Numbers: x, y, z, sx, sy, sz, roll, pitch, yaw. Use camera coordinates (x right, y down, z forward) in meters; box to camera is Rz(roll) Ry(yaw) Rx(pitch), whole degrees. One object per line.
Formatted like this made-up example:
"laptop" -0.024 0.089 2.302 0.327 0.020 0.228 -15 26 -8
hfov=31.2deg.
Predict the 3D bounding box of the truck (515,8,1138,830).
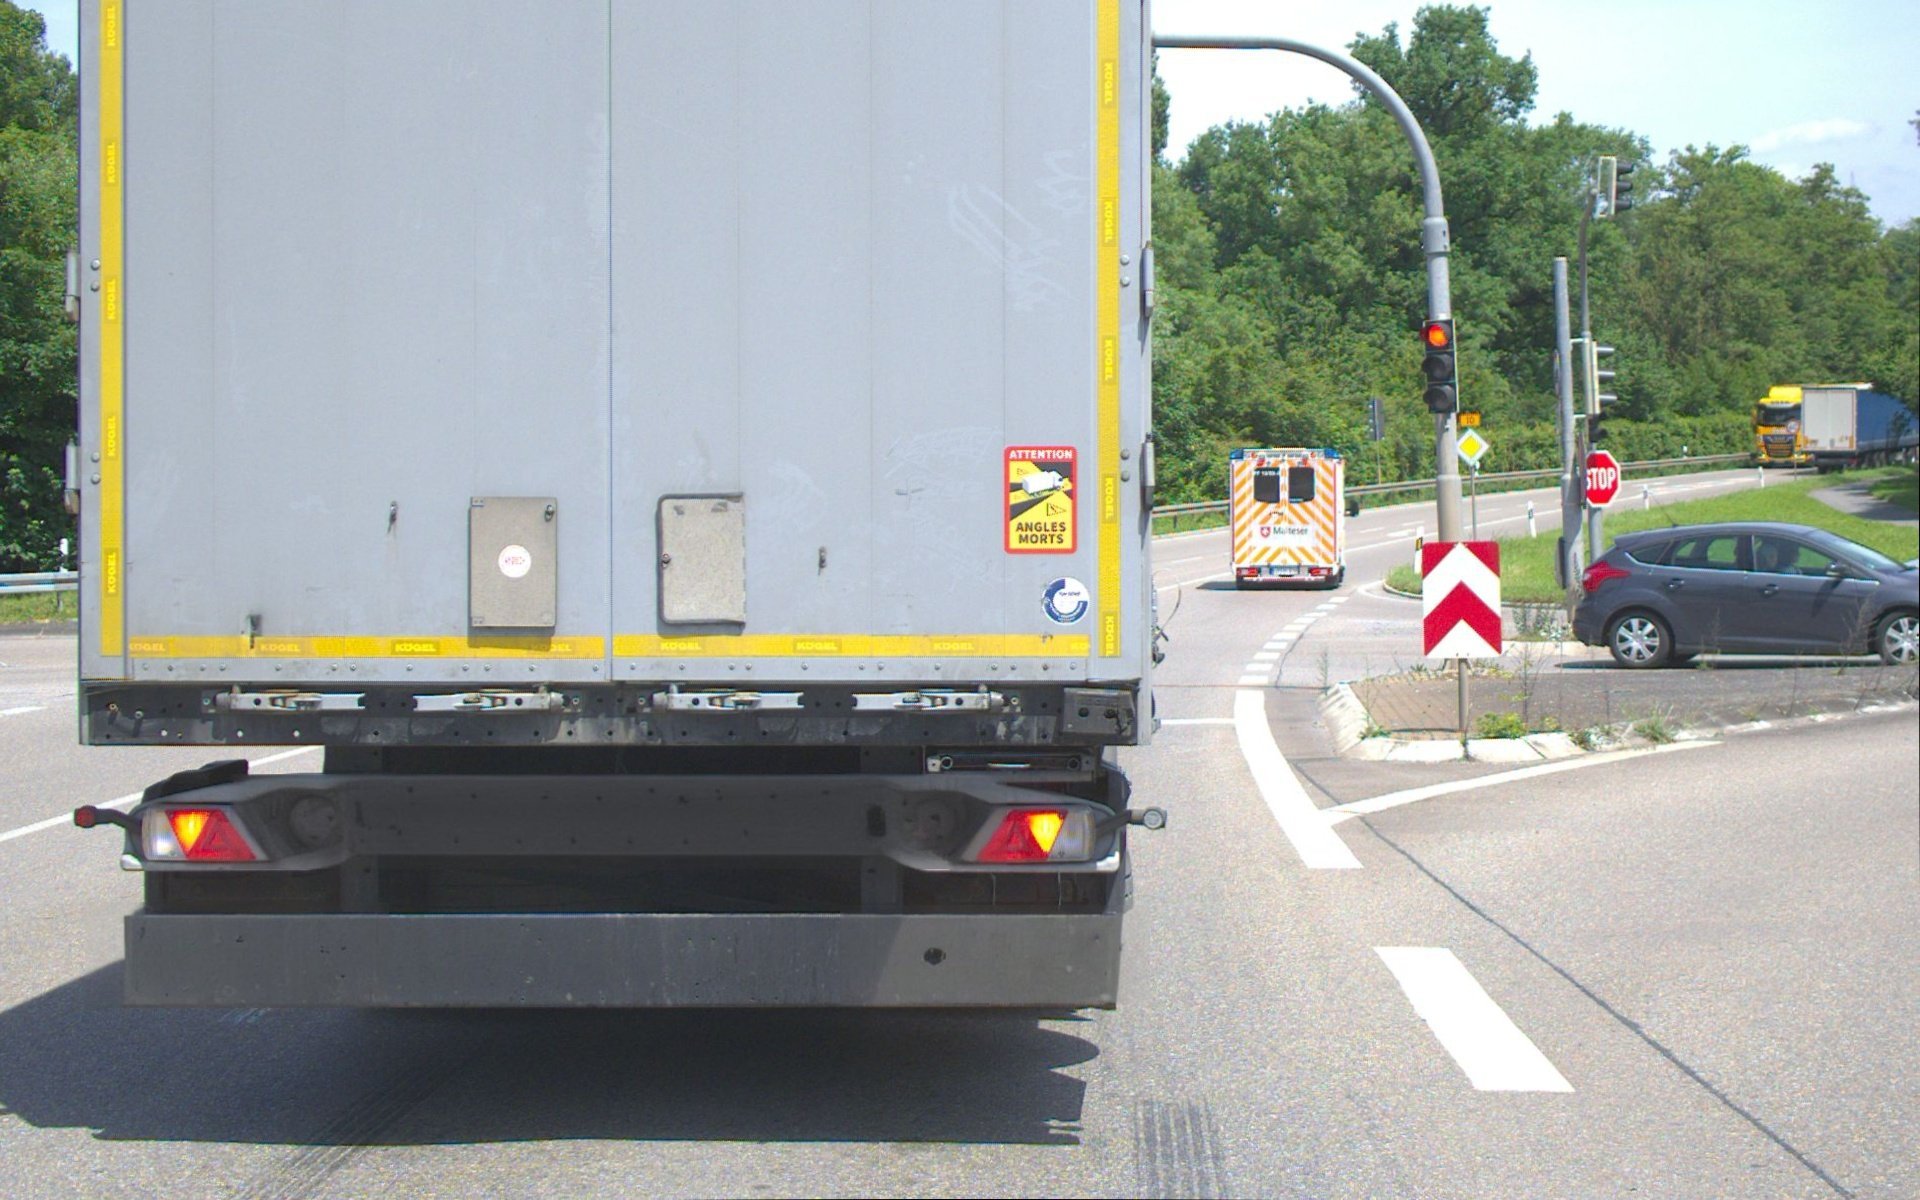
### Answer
"truck" -0.570 -0.949 20.222 3.038 4.020 6.629 0 1 2

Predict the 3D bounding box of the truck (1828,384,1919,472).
"truck" 44.505 -8.327 167.387 3.173 3.990 5.807 0 0 27

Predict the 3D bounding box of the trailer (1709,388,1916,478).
"trailer" 44.202 -8.536 177.248 5.019 4.347 20.805 1 2 29

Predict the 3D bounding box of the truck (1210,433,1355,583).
"truck" 6.414 -1.750 67.739 2.494 2.718 6.028 0 -1 9

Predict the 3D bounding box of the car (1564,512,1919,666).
"car" 8.451 -0.098 34.719 4.250 1.486 1.997 0 -1 26

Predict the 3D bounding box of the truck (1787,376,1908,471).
"truck" 41.980 -8.264 162.316 3.184 4.015 11.728 1 1 26

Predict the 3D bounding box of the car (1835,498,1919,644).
"car" 12.977 -0.316 41.424 4.428 1.712 2.000 0 -1 5

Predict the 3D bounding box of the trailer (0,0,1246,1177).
"trailer" -0.734 -0.844 13.967 3.052 4.020 12.559 0 1 2

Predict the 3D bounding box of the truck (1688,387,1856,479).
"truck" 40.282 -8.241 170.166 5.019 4.347 11.747 1 2 29
